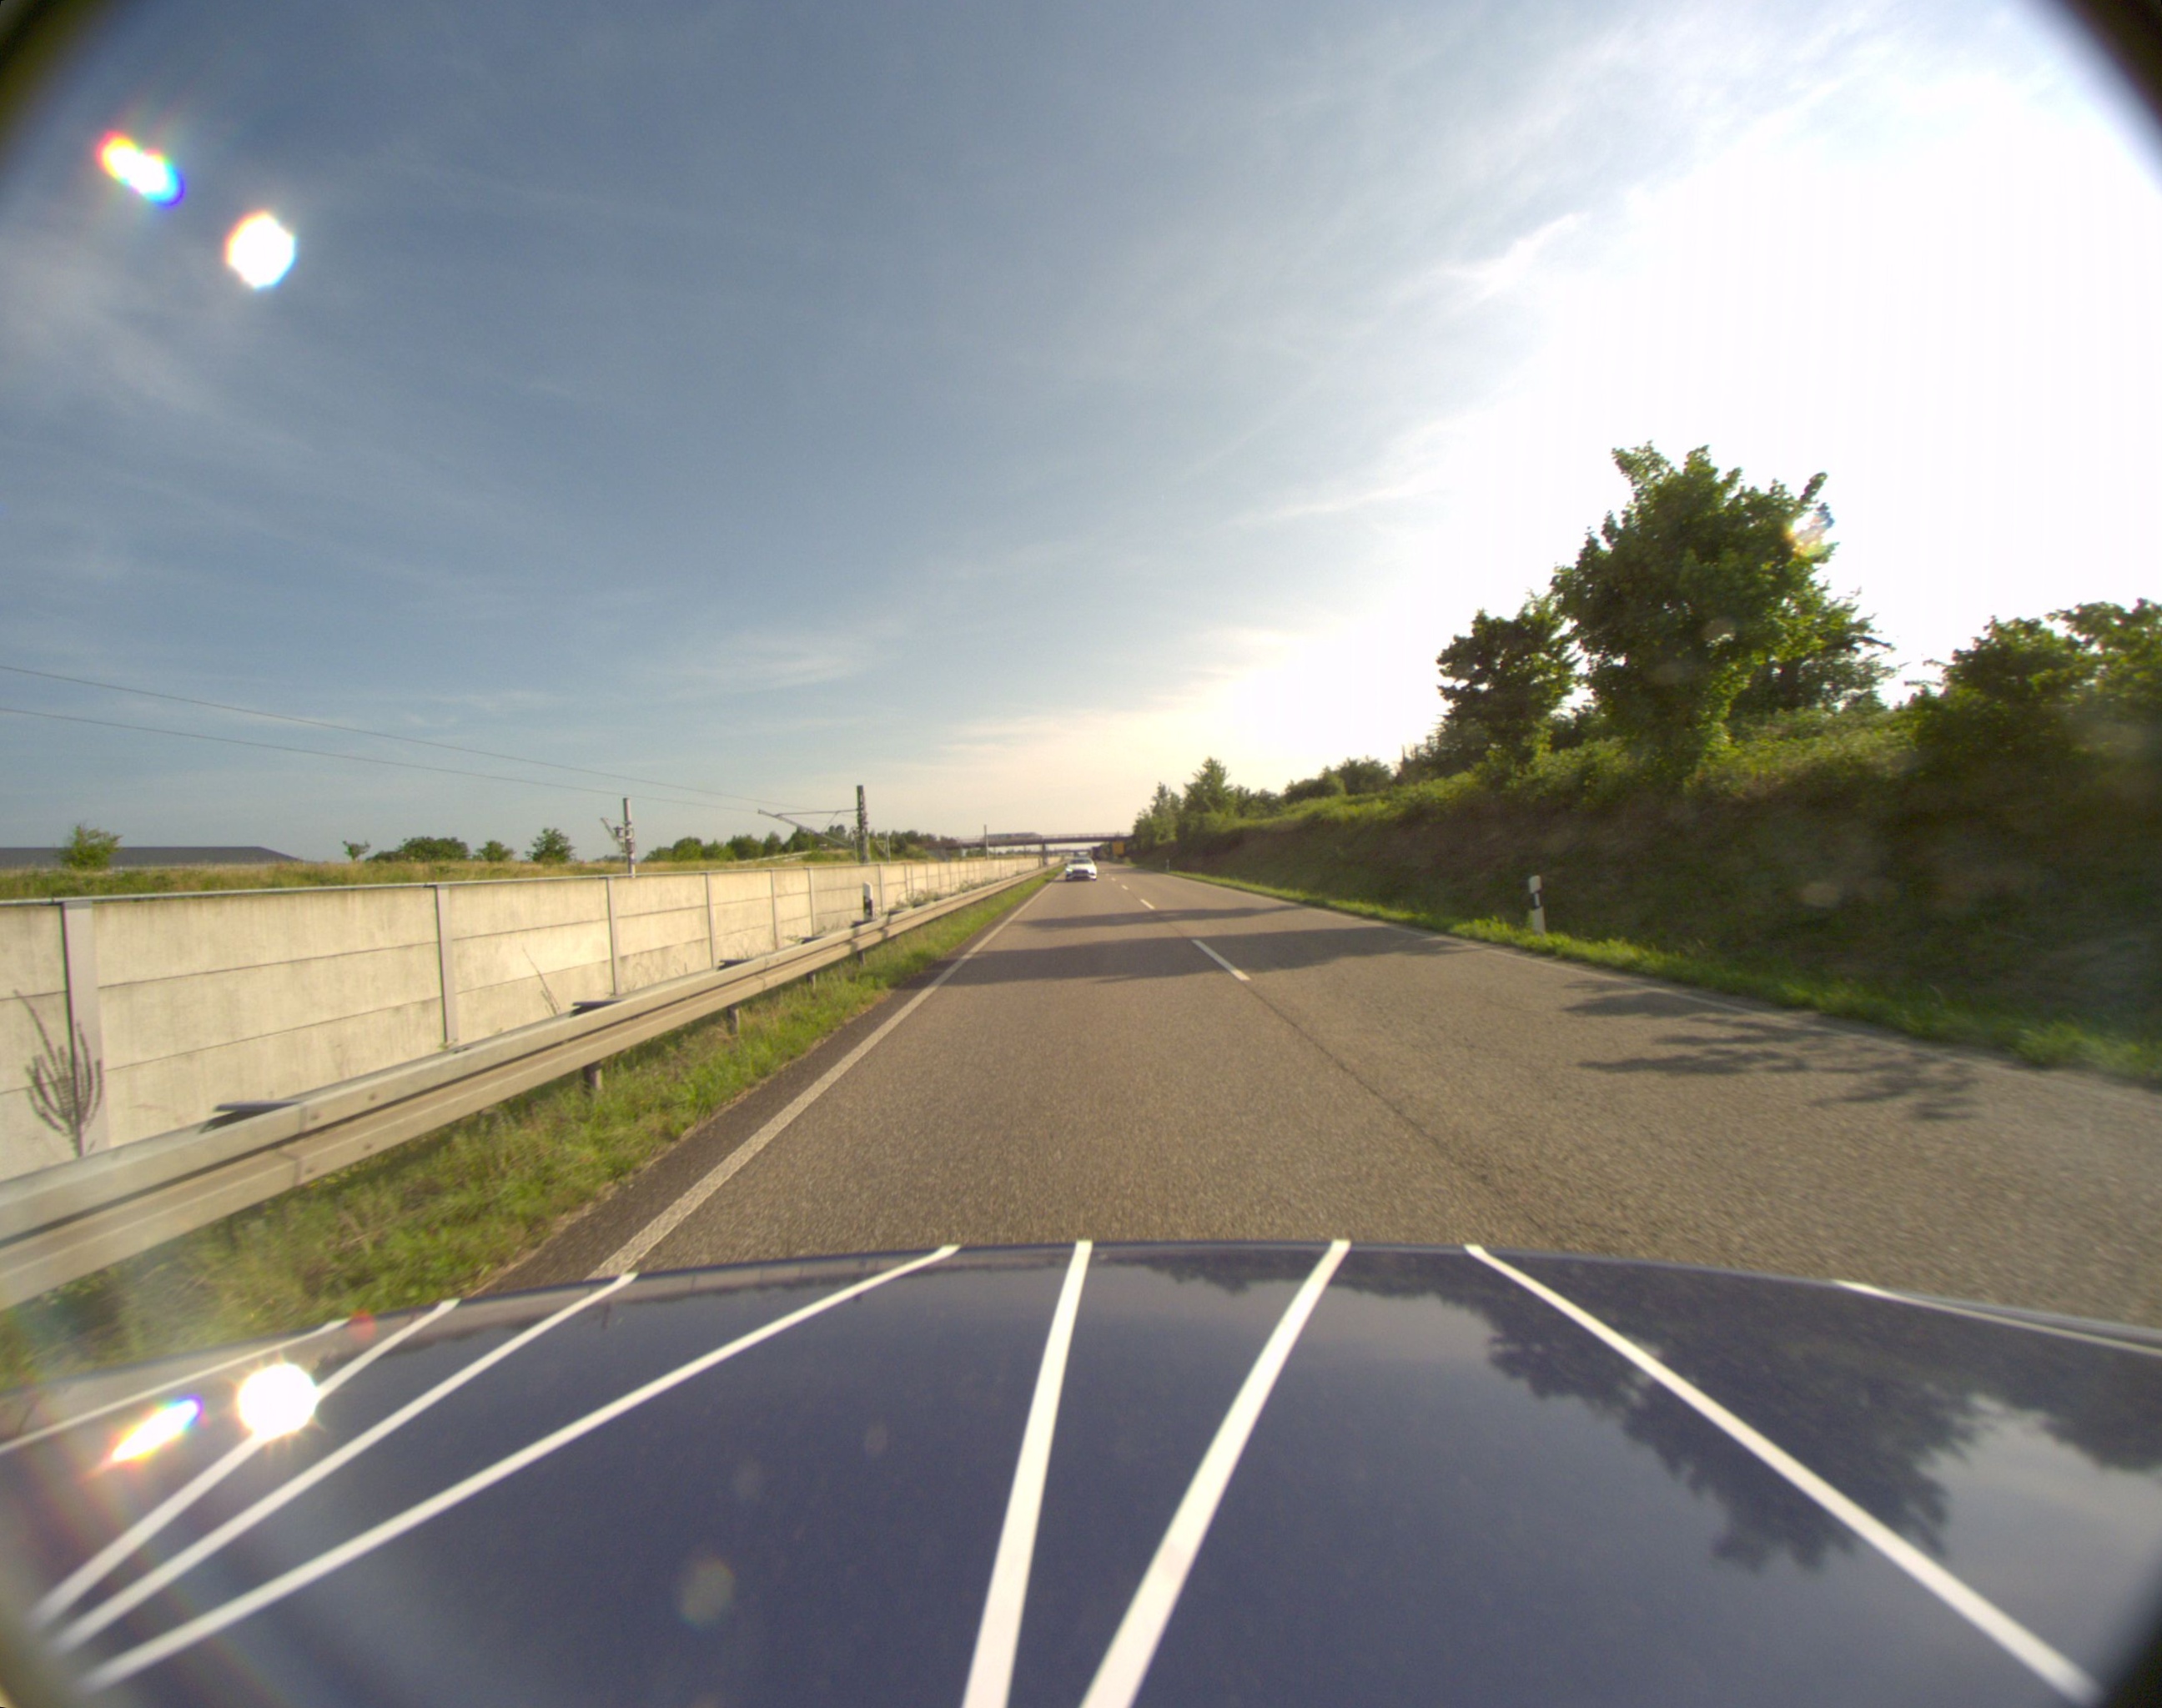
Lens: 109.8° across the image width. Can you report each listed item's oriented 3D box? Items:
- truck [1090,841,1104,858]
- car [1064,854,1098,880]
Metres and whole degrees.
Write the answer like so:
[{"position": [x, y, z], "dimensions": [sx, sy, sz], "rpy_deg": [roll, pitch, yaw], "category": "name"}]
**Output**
[{"position": [4.538, -1.290, 217.667], "dimensions": [3.792, 4.617, 19.837], "rpy_deg": [-2, 0, 1], "category": "truck"}, {"position": [0.031, 0.752, 47.260], "dimensions": [1.953, 1.430, 4.611], "rpy_deg": [-2, 0, 0], "category": "car"}]
